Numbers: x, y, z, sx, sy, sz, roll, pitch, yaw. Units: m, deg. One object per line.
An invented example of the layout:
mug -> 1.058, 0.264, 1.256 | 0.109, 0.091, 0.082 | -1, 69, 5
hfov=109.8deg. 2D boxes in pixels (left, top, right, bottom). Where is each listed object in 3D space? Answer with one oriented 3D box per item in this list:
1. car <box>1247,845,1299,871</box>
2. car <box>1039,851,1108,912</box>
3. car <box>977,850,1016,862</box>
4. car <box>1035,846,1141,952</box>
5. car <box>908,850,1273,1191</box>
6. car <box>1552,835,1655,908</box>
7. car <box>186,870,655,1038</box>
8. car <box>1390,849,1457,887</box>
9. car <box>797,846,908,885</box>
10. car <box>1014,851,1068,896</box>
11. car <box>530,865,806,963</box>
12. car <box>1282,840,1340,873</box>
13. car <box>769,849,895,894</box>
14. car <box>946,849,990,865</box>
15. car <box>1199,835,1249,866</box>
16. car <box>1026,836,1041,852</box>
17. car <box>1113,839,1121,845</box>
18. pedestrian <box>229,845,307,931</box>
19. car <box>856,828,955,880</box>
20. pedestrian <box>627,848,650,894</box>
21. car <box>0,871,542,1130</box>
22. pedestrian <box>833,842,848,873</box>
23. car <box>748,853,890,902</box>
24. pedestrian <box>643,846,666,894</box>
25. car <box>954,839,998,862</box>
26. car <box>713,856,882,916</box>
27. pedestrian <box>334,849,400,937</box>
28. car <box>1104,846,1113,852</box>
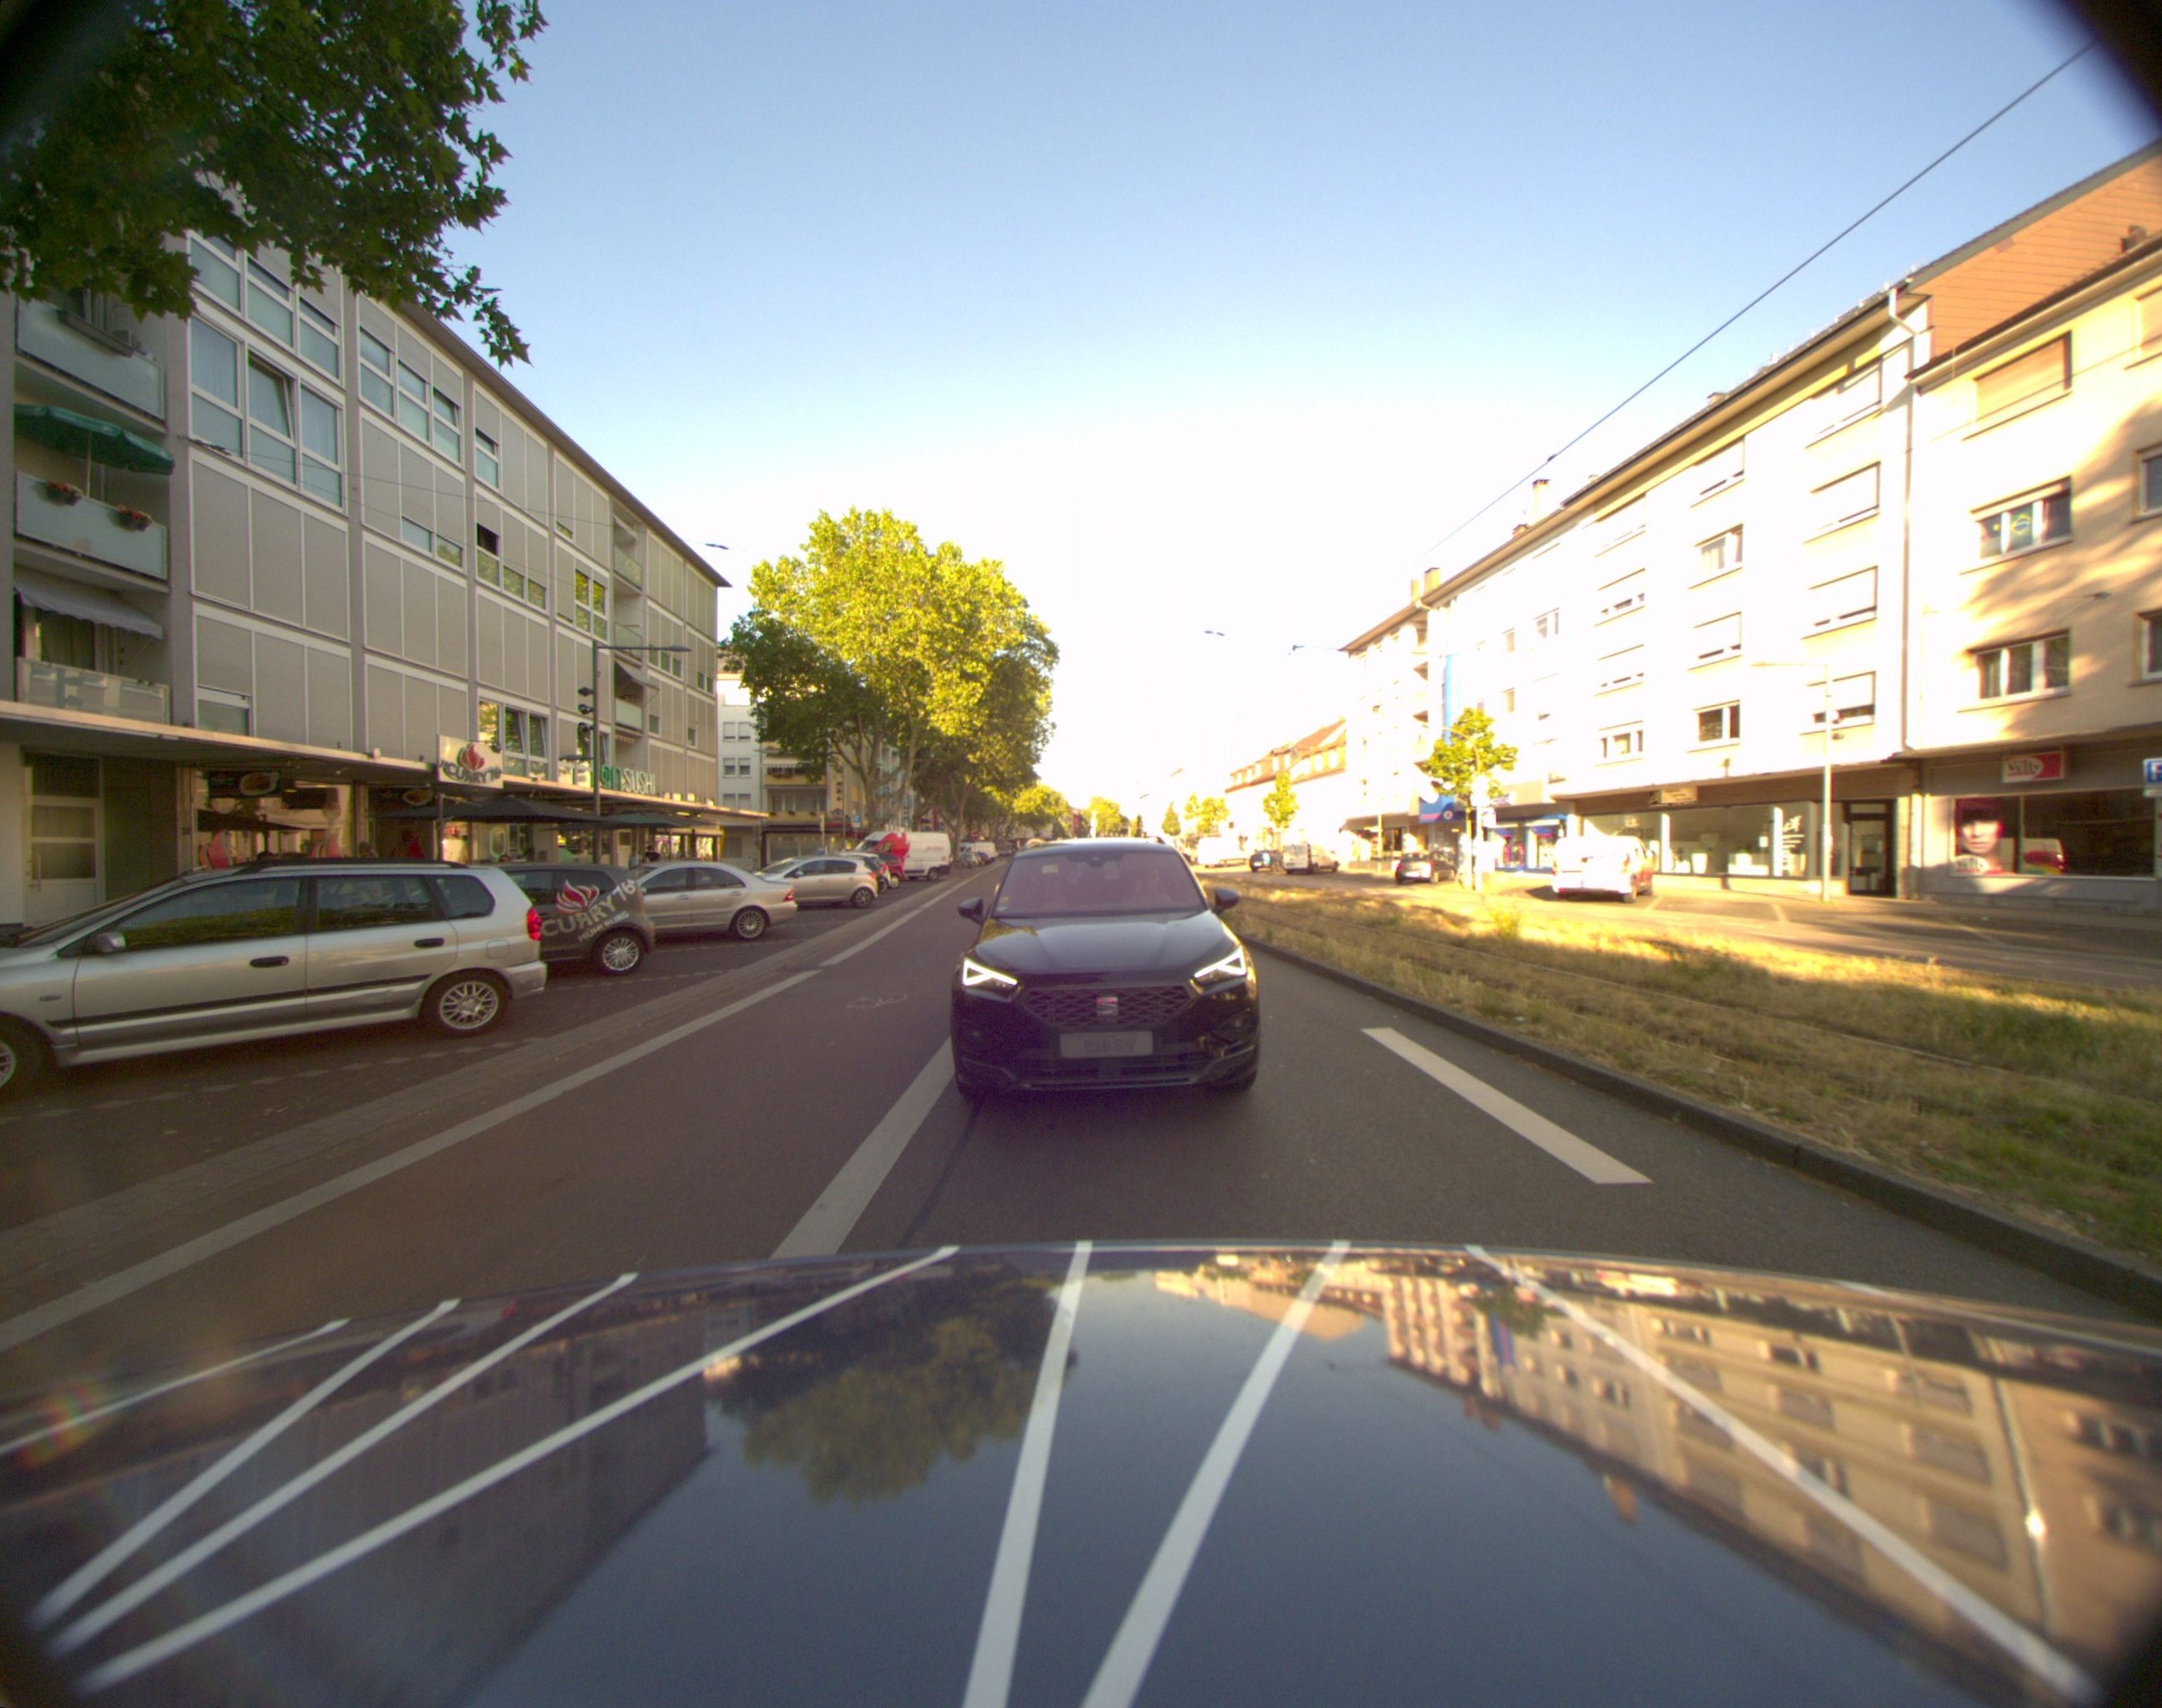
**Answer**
car -> 13.794, 0.243, 54.516 | 3.922, 1.704, 1.853 | -2, 1, -45
car -> -0.217, 0.704, 21.592 | 1.729, 1.467, 3.999 | -2, 1, -1
car -> -9.175, 0.206, 82.666 | 1.778, 1.326, 3.943 | 1, 1, 44
car -> 0.089, 0.704, 14.260 | 1.646, 1.646, 3.999 | -2, 1, -1
car -> 0.073, 0.838, 5.848 | 1.785, 1.639, 3.999 | -2, 1, 1
car -> 15.604, 0.451, 22.600 | 1.853, 1.888, 4.007 | -1, 2, 44
car -> -7.535, 0.961, 9.032 | 1.672, 1.420, 3.950 | 2, 1, 38
car -> 15.356, 0.588, 33.958 | 1.731, 1.489, 4.008 | -1, 1, 40
car -> -9.177, 0.483, 30.516 | 3.948, 1.421, 1.672 | 1, 2, -30
car -> -1.374, 0.656, 27.749 | 1.729, 1.443, 4.227 | -2, 1, -1
car -> -7.089, 0.920, 13.367 | 1.592, 1.393, 3.950 | 2, 1, 41
car -> 14.510, 0.111, 47.836 | 1.853, 1.927, 4.513 | -1, 1, 40
car -> -8.914, 0.634, 27.270 | 3.948, 1.421, 1.672 | 2, 2, -32
car -> -10.828, 0.276, 72.926 | 1.778, 1.396, 3.943 | 1, 1, 44
car -> 12.968, -0.362, 68.573 | 1.922, 2.599, 6.601 | -1, 1, 34
car -> -9.369, -1.952, 150.776 | 2.660, 2.989, 7.131 | -2, 1, -2
car -> 10.310, -3.520, 217.622 | 1.999, 1.783, 3.998 | 0, 1, -4
pedestrian -> -15.118, 0.613, 14.151 | 0.583, 1.573, 0.771 | 0, 1, 2
car -> -8.703, 0.015, 37.876 | 4.606, 2.479, 1.672 | 0, 0, -44
pedestrian -> -15.944, 0.605, 27.363 | 0.537, 1.630, 0.478 | 0, 1, -4
car -> -6.909, 0.957, 6.009 | 1.672, 1.533, 3.993 | 2, 1, 38
pedestrian -> -15.609, 0.198, 49.253 | 0.748, 2.002, 0.764 | 0, 1, -4
car -> -8.276, 0.723, 24.120 | 3.949, 1.420, 1.672 | 1, 1, -34
pedestrian -> -15.372, 0.568, 27.384 | 0.545, 1.710, 0.457 | 0, 1, -4
car -> -11.677, -0.417, 84.922 | 1.973, 2.454, 4.605 | 1, 1, 44
car -> -7.554, 0.810, 20.498 | 3.950, 1.420, 1.555 | 1, 1, -45
pedestrian -> -12.978, 0.691, 13.828 | 0.561, 1.567, 0.642 | 0, 1, -5
car -> 6.753, -1.206, 186.478 | 1.846, 1.571, 4.449 | 0, 1, -1
